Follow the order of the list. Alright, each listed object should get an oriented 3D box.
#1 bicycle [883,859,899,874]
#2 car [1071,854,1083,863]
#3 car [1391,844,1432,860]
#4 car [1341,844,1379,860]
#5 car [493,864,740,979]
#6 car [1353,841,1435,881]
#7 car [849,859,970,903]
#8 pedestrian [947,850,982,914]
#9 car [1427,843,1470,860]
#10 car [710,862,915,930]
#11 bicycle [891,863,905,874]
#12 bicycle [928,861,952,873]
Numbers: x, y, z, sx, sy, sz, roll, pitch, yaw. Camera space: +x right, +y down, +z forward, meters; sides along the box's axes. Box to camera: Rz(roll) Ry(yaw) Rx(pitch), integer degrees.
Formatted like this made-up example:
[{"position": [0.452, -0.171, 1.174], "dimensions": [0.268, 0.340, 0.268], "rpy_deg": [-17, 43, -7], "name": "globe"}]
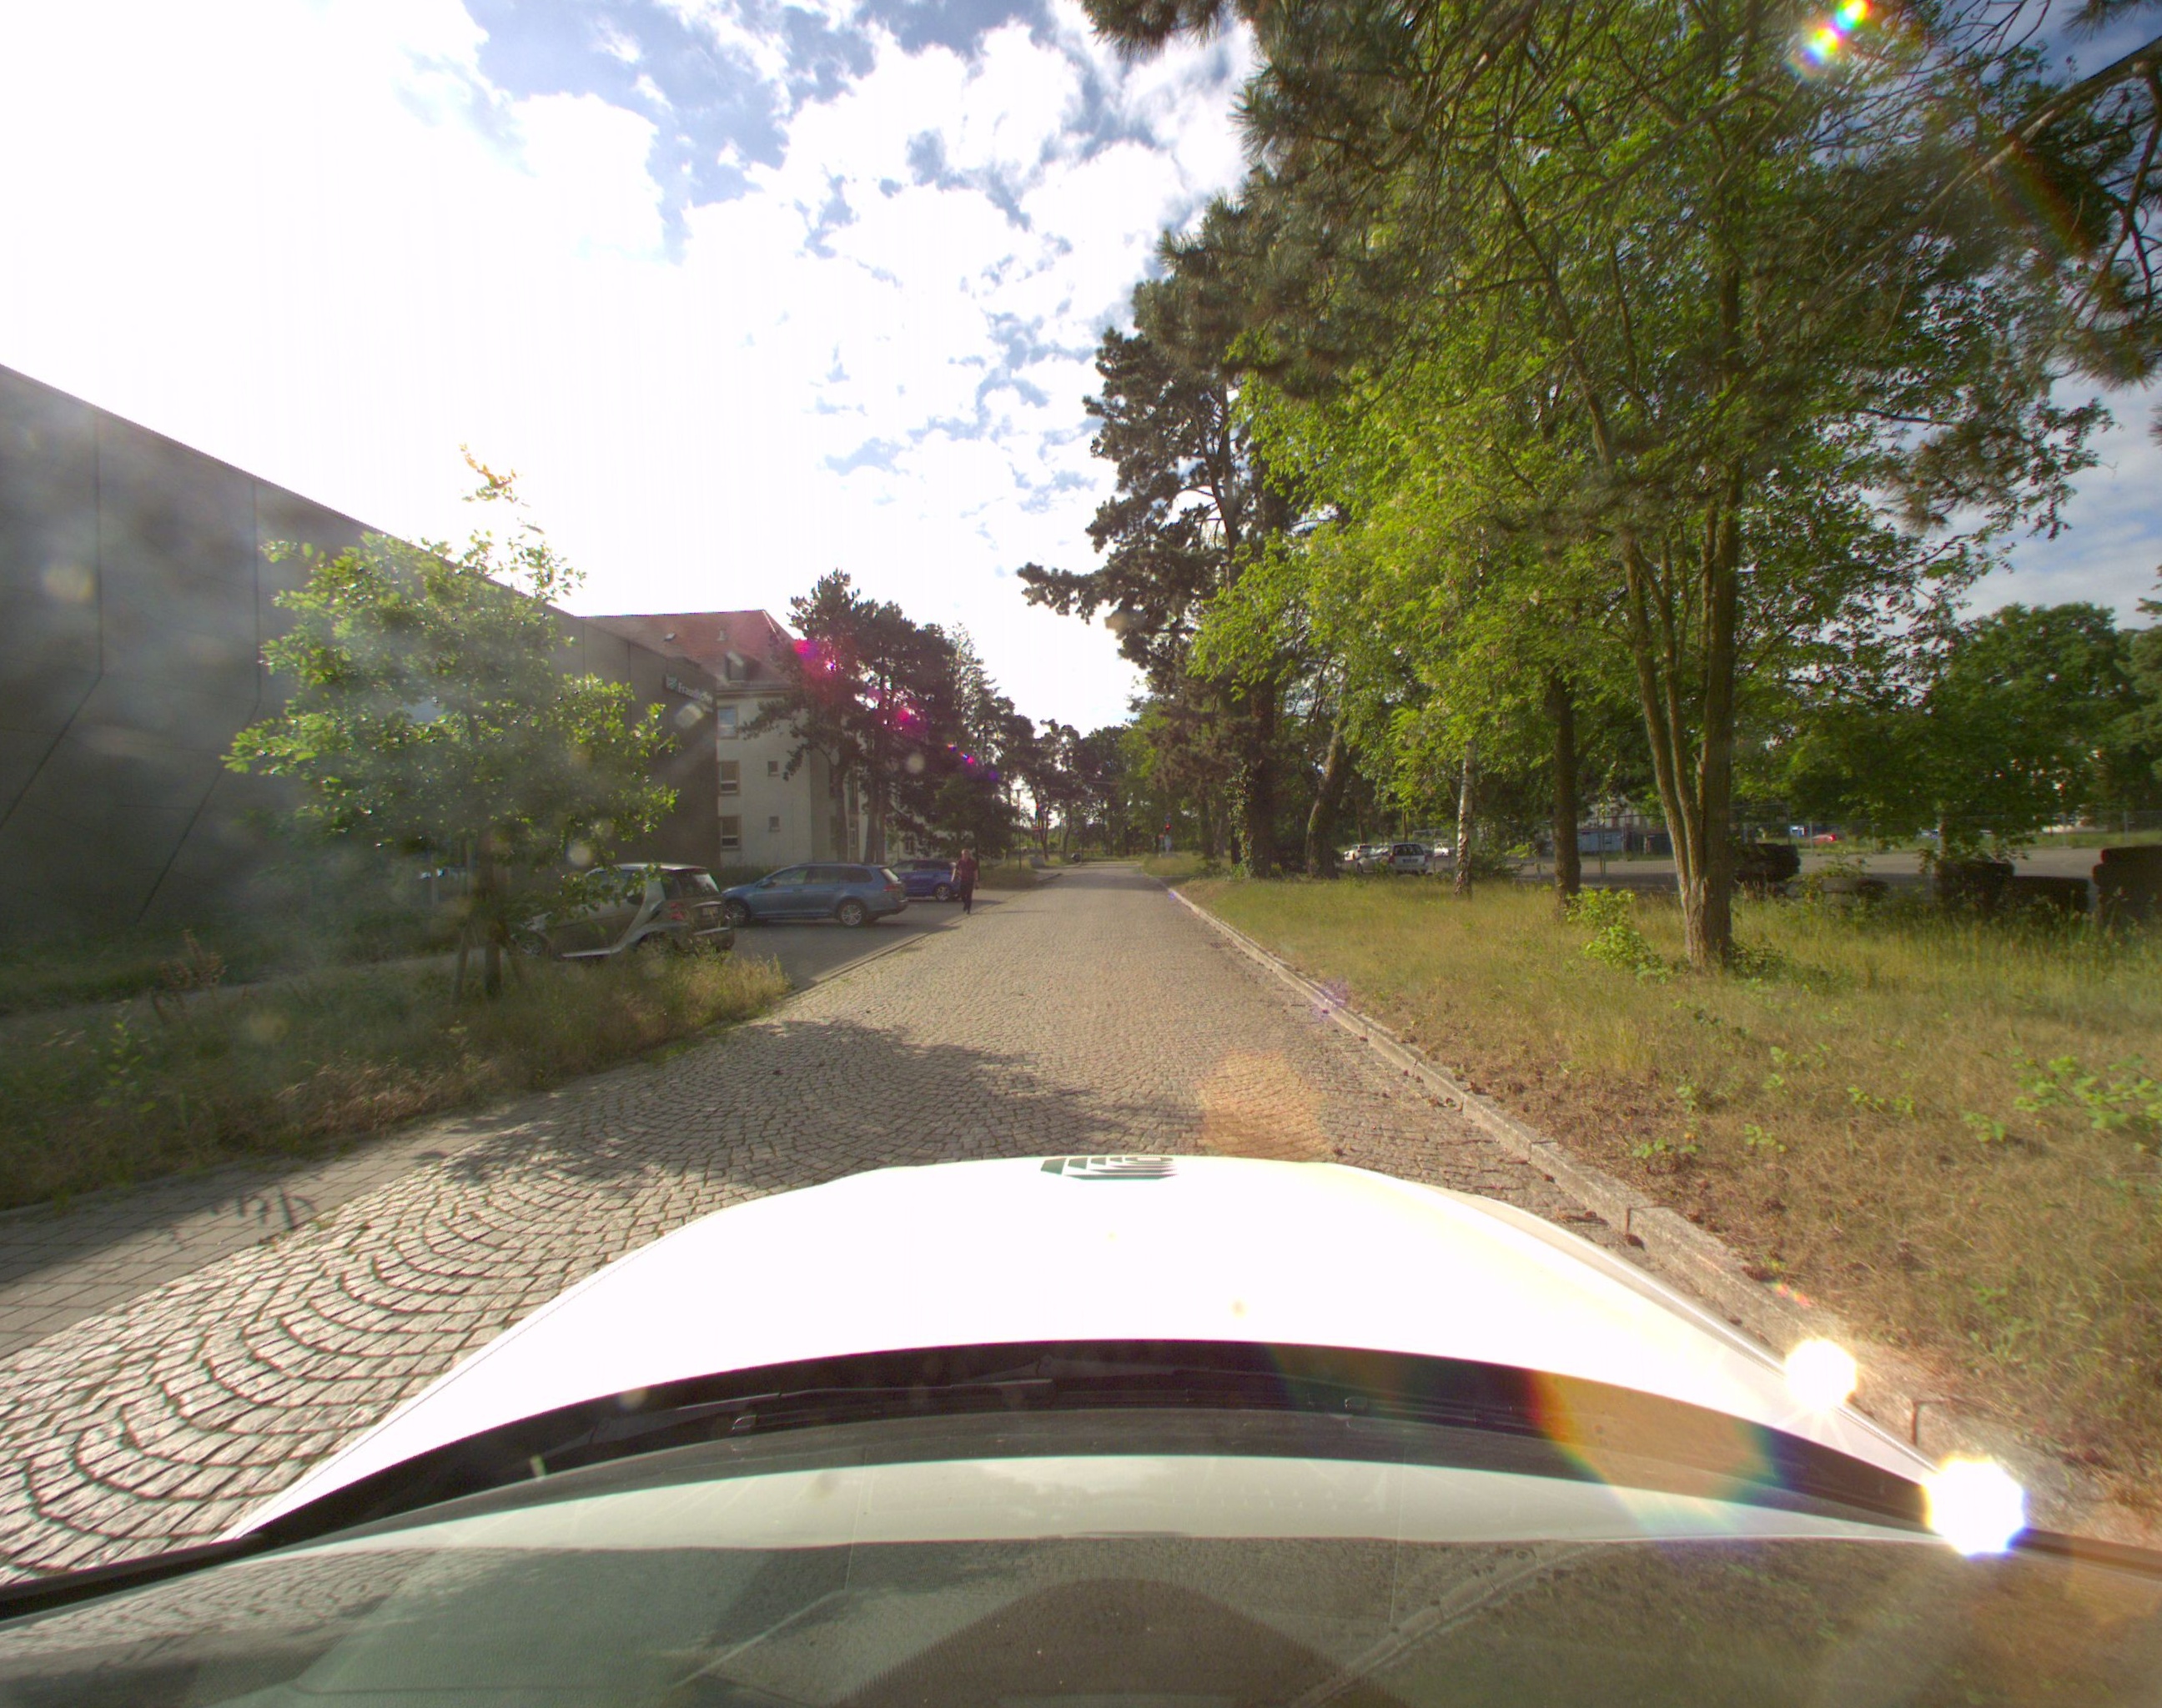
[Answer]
[{"position": [-18.519, 1.179, 79.338], "dimensions": [0.823, 1.437, 2.555], "rpy_deg": [-2, 0, 2], "name": "bicycle"}, {"position": [-0.645, 0.768, 134.897], "dimensions": [1.839, 1.486, 3.999], "rpy_deg": [-2, 0, 0], "name": "car"}, {"position": [28.642, -0.172, 70.682], "dimensions": [1.726, 1.312, 4.329], "rpy_deg": [-2, 0, -1], "name": "car"}, {"position": [24.091, -0.178, 70.384], "dimensions": [1.726, 1.312, 4.330], "rpy_deg": [-2, 0, -1], "name": "car"}, {"position": [-6.634, 0.930, 11.831], "dimensions": [2.689, 1.542, 1.519], "rpy_deg": [0, 0, 1], "name": "car"}, {"position": [12.606, 0.284, 33.042], "dimensions": [1.662, 1.467, 3.998], "rpy_deg": [-2, 0, -1], "name": "car"}, {"position": [-6.001, 0.927, 28.760], "dimensions": [3.818, 1.464, 1.722], "rpy_deg": [0, 0, 4], "name": "car"}, {"position": [-3.294, 0.779, 23.170], "dimensions": [0.802, 1.771, 1.152], "rpy_deg": [-2, 0, -2], "name": "pedestrian"}, {"position": [31.980, -0.217, 71.056], "dimensions": [1.726, 1.312, 4.330], "rpy_deg": [-2, 0, -1], "name": "car"}, {"position": [-6.203, 0.956, 19.151], "dimensions": [4.243, 1.464, 1.681], "rpy_deg": [0, 2, -1], "name": "car"}, {"position": [-17.739, 1.382, 78.975], "dimensions": [0.823, 1.047, 2.125], "rpy_deg": [-2, 0, 2], "name": "bicycle"}, {"position": [-13.438, 1.224, 77.742], "dimensions": [2.111, 1.047, 0.828], "rpy_deg": [-2, 0, -2], "name": "bicycle"}]
